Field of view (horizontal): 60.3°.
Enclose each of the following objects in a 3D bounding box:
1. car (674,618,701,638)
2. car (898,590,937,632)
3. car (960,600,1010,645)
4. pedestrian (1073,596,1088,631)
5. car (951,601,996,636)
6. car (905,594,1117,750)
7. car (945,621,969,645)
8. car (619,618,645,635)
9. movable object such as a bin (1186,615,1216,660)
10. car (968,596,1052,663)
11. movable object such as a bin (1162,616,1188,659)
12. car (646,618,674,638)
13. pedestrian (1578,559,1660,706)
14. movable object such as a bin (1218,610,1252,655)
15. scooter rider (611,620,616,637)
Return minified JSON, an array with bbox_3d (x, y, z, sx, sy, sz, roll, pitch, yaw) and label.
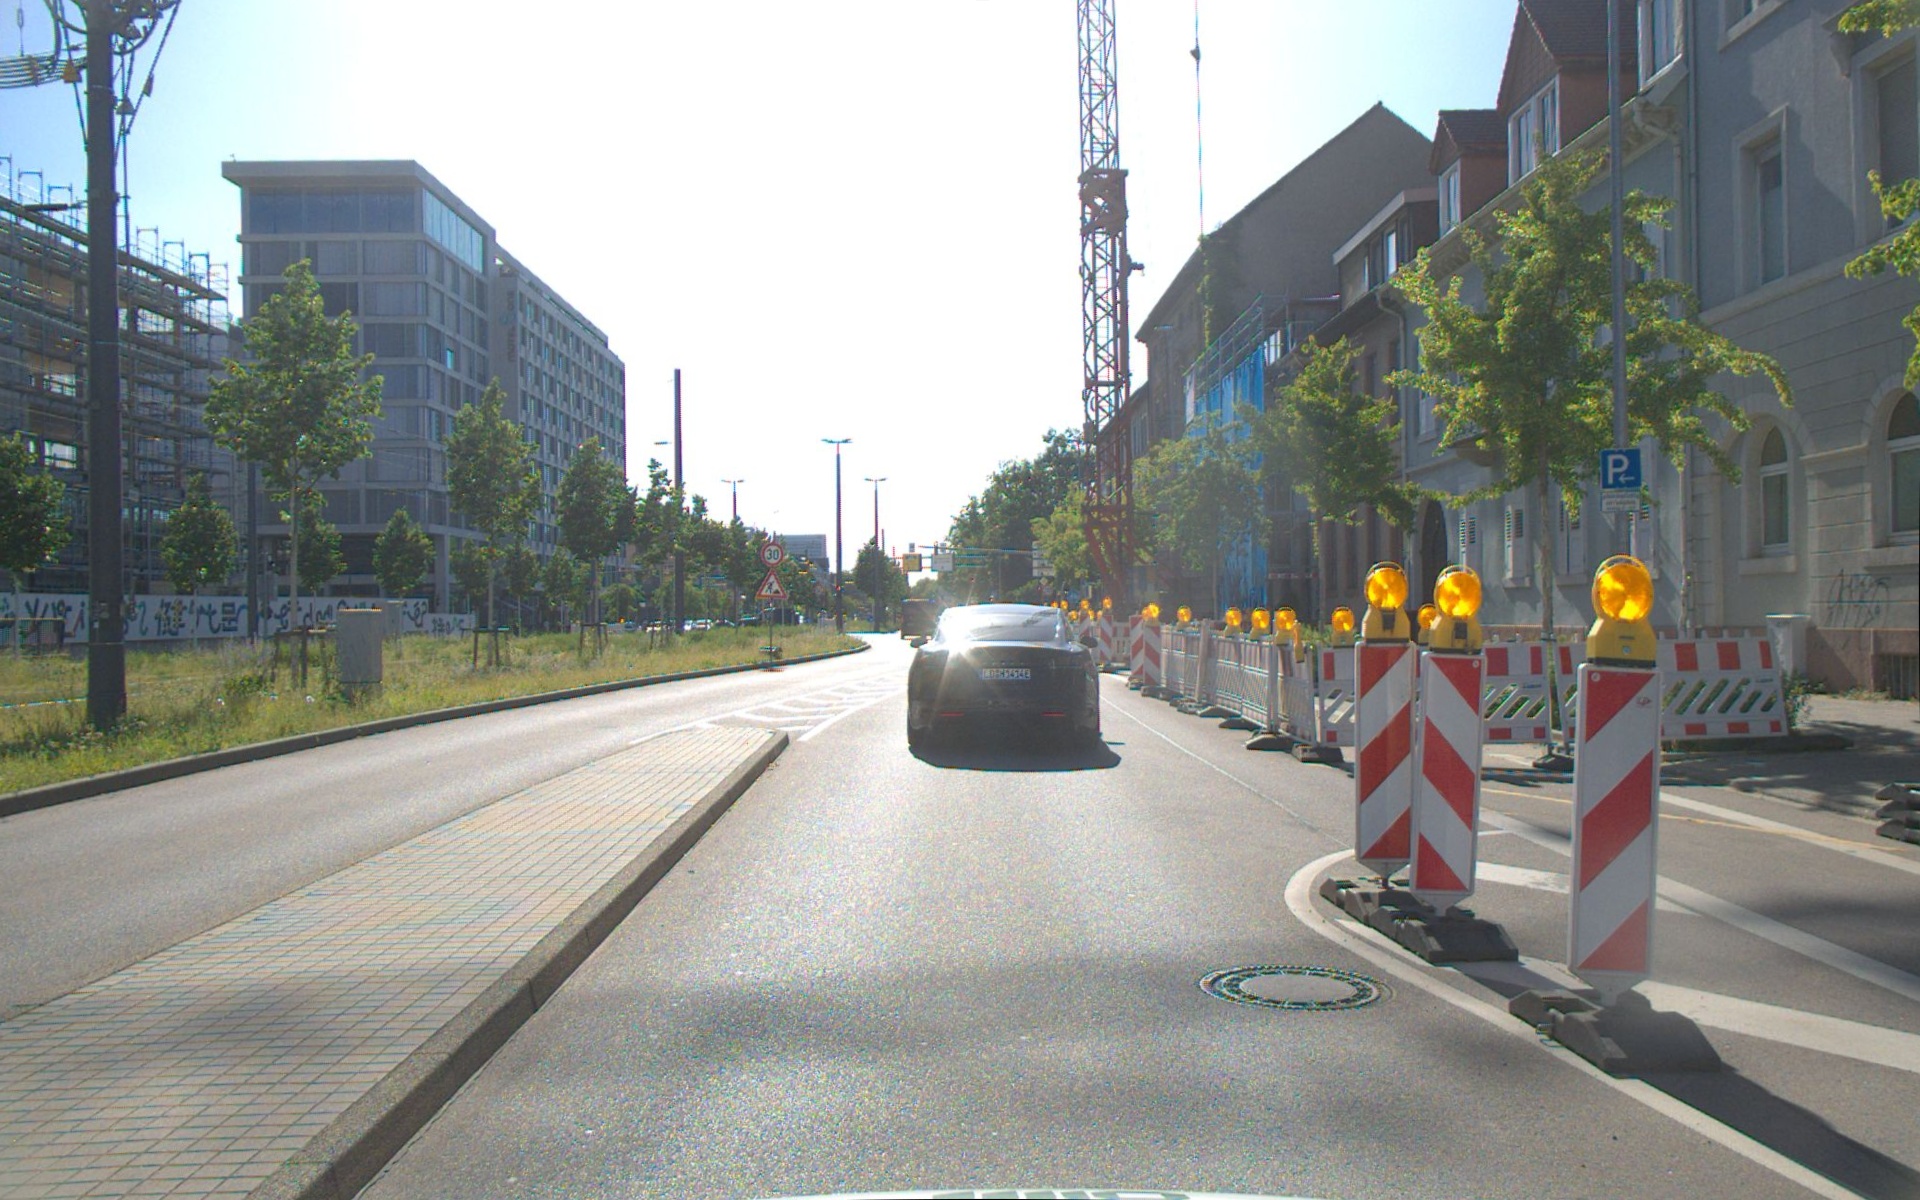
[{"bbox_3d":[-24.163,2.446,146.628,1.754,1.680,3.999,-1,-1,0],"label":"car"},{"bbox_3d":[-2.462,0.617,95.057,2.173,2.307,4.482,0,0,-2],"label":"car"},{"bbox_3d":[0.873,0.795,59.400,1.714,1.554,4.004,0,0,0],"label":"car"},{"bbox_3d":[6.977,0.785,95.827,0.645,1.946,0.587,-4,-1,-1],"label":"pedestrian"},{"bbox_3d":[0.550,0.825,71.952,1.756,1.453,3.848,0,-1,-2],"label":"car"},{"bbox_3d":[0.447,0.703,18.026,2.009,1.469,4.523,1,0,-1],"label":"car"},{"bbox_3d":[-0.245,2.629,133.401,1.756,1.906,3.848,0,-1,-2],"label":"car"},{"bbox_3d":[-32.260,2.608,162.683,1.754,1.680,3.999,-1,-1,0],"label":"car"},{"bbox_3d":[6.093,0.955,41.893,0.583,1.076,0.730,-4,0,0],"label":"movable object such as a bin"},{"bbox_3d":[1.109,0.662,38.630,1.712,1.452,4.837,0,0,-1],"label":"car"},{"bbox_3d":[5.414,0.948,41.684,0.575,1.076,0.730,0,0,0],"label":"movable object such as a bin"},{"bbox_3d":[-26.951,2.502,148.795,1.754,1.680,3.999,-1,-1,0],"label":"car"},{"bbox_3d":[8.979,0.434,22.569,0.777,1.962,0.769,0,0,-4],"label":"pedestrian"},{"bbox_3d":[6.935,0.809,41.709,0.576,1.076,0.782,-5,0,-5],"label":"movable object such as a bin"},{"bbox_3d":[-29.559,2.449,140.975,0.335,1.478,0.239,-1,-1,-1],"label":"scooter rider"}]
